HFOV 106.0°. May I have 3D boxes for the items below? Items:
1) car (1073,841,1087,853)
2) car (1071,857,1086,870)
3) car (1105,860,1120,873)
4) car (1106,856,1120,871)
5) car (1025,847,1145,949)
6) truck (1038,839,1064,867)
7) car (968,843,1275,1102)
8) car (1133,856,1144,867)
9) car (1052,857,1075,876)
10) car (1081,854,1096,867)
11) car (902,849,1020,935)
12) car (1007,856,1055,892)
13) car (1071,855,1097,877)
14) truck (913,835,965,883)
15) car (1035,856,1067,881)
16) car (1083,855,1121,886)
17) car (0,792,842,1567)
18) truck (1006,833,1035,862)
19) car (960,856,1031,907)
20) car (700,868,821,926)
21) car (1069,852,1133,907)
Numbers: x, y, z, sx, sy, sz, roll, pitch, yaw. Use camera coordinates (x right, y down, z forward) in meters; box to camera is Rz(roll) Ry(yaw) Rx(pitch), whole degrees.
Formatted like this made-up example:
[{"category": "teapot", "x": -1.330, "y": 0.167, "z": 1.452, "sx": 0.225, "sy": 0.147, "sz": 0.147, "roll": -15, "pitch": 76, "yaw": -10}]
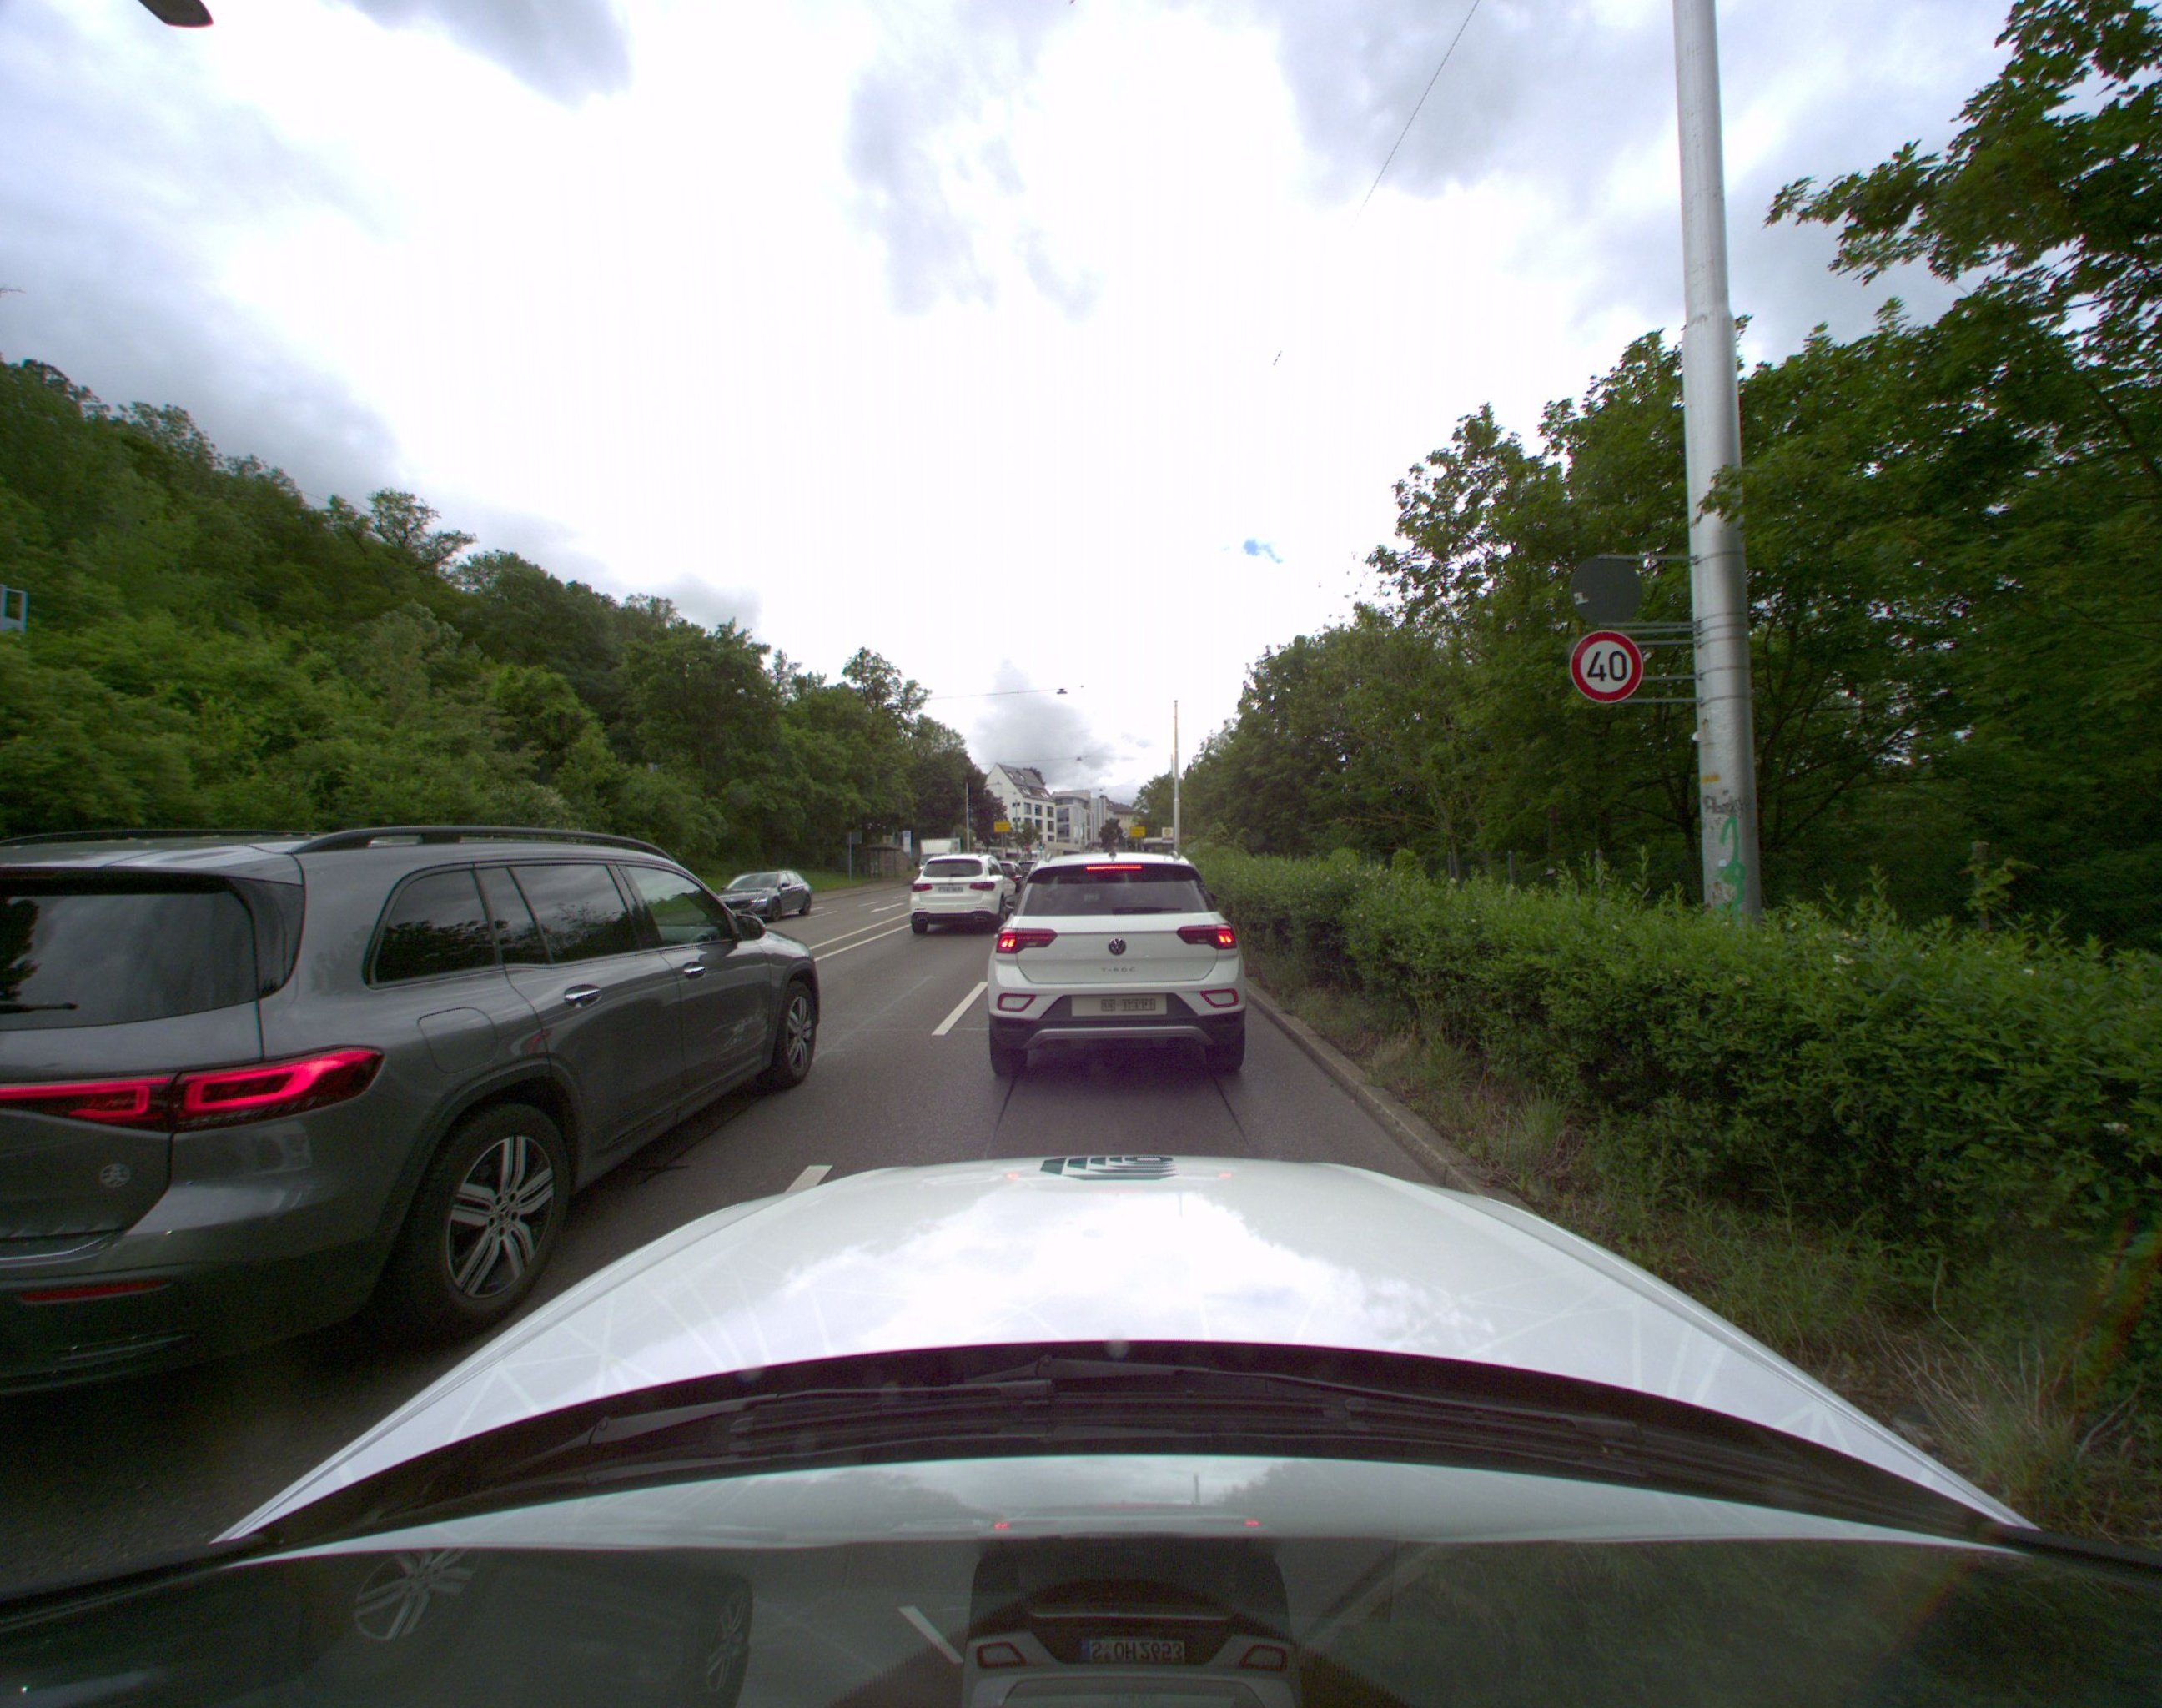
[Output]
[{"category": "car", "x": -0.089, "y": -1.000, "z": 116.902, "sx": 1.823, "sy": 1.526, "sz": 4.001, "roll": -2, "pitch": 0, "yaw": 1}, {"category": "car", "x": -0.339, "y": 1.288, "z": 109.304, "sx": 1.809, "sy": 1.656, "sz": 3.929, "roll": -3, "pitch": 0, "yaw": 1}, {"category": "car", "x": 3.967, "y": 1.579, "z": 103.687, "sx": 1.823, "sy": 1.526, "sz": 4.001, "roll": -2, "pitch": 0, "yaw": 1}, {"category": "car", "x": 4.755, "y": 1.412, "z": 121.316, "sx": 1.986, "sy": 2.014, "sz": 4.002, "roll": -3, "pitch": -2, "yaw": 2}, {"category": "car", "x": 0.105, "y": 0.694, "z": 14.739, "sx": 1.823, "sy": 1.526, "sz": 4.001, "roll": -2, "pitch": 0, "yaw": 1}, {"category": "truck", "x": -3.145, "y": -0.092, "z": 85.664, "sx": 2.354, "sy": 2.782, "sz": 4.478, "roll": -3, "pitch": 0, "yaw": 1}, {"category": "car", "x": 0.282, "y": 0.726, "z": 6.953, "sx": 1.823, "sy": 1.526, "sz": 4.001, "roll": -2, "pitch": 0, "yaw": 1}, {"category": "car", "x": 11.027, "y": 1.404, "z": 156.765, "sx": 1.986, "sy": 2.014, "sz": 4.002, "roll": -3, "pitch": -2, "yaw": 2}, {"category": "car", "x": -1.527, "y": 1.111, "z": 73.278, "sx": 1.823, "sy": 1.526, "sz": 4.001, "roll": -2, "pitch": 0, "yaw": 1}, {"category": "car", "x": 0.991, "y": 0.806, "z": 103.991, "sx": 1.823, "sy": 1.526, "sz": 4.001, "roll": -2, "pitch": 0, "yaw": 1}, {"category": "car", "x": -2.505, "y": 0.750, "z": 17.941, "sx": 1.911, "sy": 1.669, "sz": 4.001, "roll": -1, "pitch": 0, "yaw": 1}, {"category": "car", "x": -2.249, "y": 0.869, "z": 37.313, "sx": 1.823, "sy": 1.526, "sz": 4.001, "roll": -2, "pitch": 0, "yaw": 1}, {"category": "car", "x": 0.257, "y": 0.879, "z": 60.524, "sx": 1.823, "sy": 1.526, "sz": 4.001, "roll": -2, "pitch": 0, "yaw": 1}, {"category": "truck", "x": -9.808, "y": 0.335, "z": 56.787, "sx": 2.286, "sy": 3.051, "sz": 6.977, "roll": -2, "pitch": -1, "yaw": 0}, {"category": "car", "x": -1.983, "y": 0.956, "z": 54.687, "sx": 1.823, "sy": 1.526, "sz": 4.001, "roll": -2, "pitch": 0, "yaw": 1}, {"category": "car", "x": 1.089, "y": 0.829, "z": 42.831, "sx": 1.823, "sy": 1.526, "sz": 4.001, "roll": -2, "pitch": 0, "yaw": 1}, {"category": "car", "x": -2.745, "y": 0.716, "z": 3.924, "sx": 1.843, "sy": 1.651, "sz": 4.357, "roll": -1, "pitch": 0, "yaw": 0}, {"category": "truck", "x": -5.947, "y": -0.648, "z": 81.027, "sx": 2.354, "sy": 2.706, "sz": 4.478, "roll": -3, "pitch": 0, "yaw": 1}, {"category": "car", "x": -2.756, "y": 0.867, "z": 27.194, "sx": 1.823, "sy": 1.497, "sz": 4.001, "roll": -2, "pitch": 0, "yaw": 1}, {"category": "car", "x": -9.184, "y": 1.181, "z": 23.741, "sx": 1.673, "sy": 1.395, "sz": 4.361, "roll": -3, "pitch": 0, "yaw": 1}, {"category": "car", "x": 0.618, "y": 0.740, "z": 25.729, "sx": 1.823, "sy": 1.526, "sz": 4.001, "roll": -2, "pitch": 0, "yaw": 1}]
